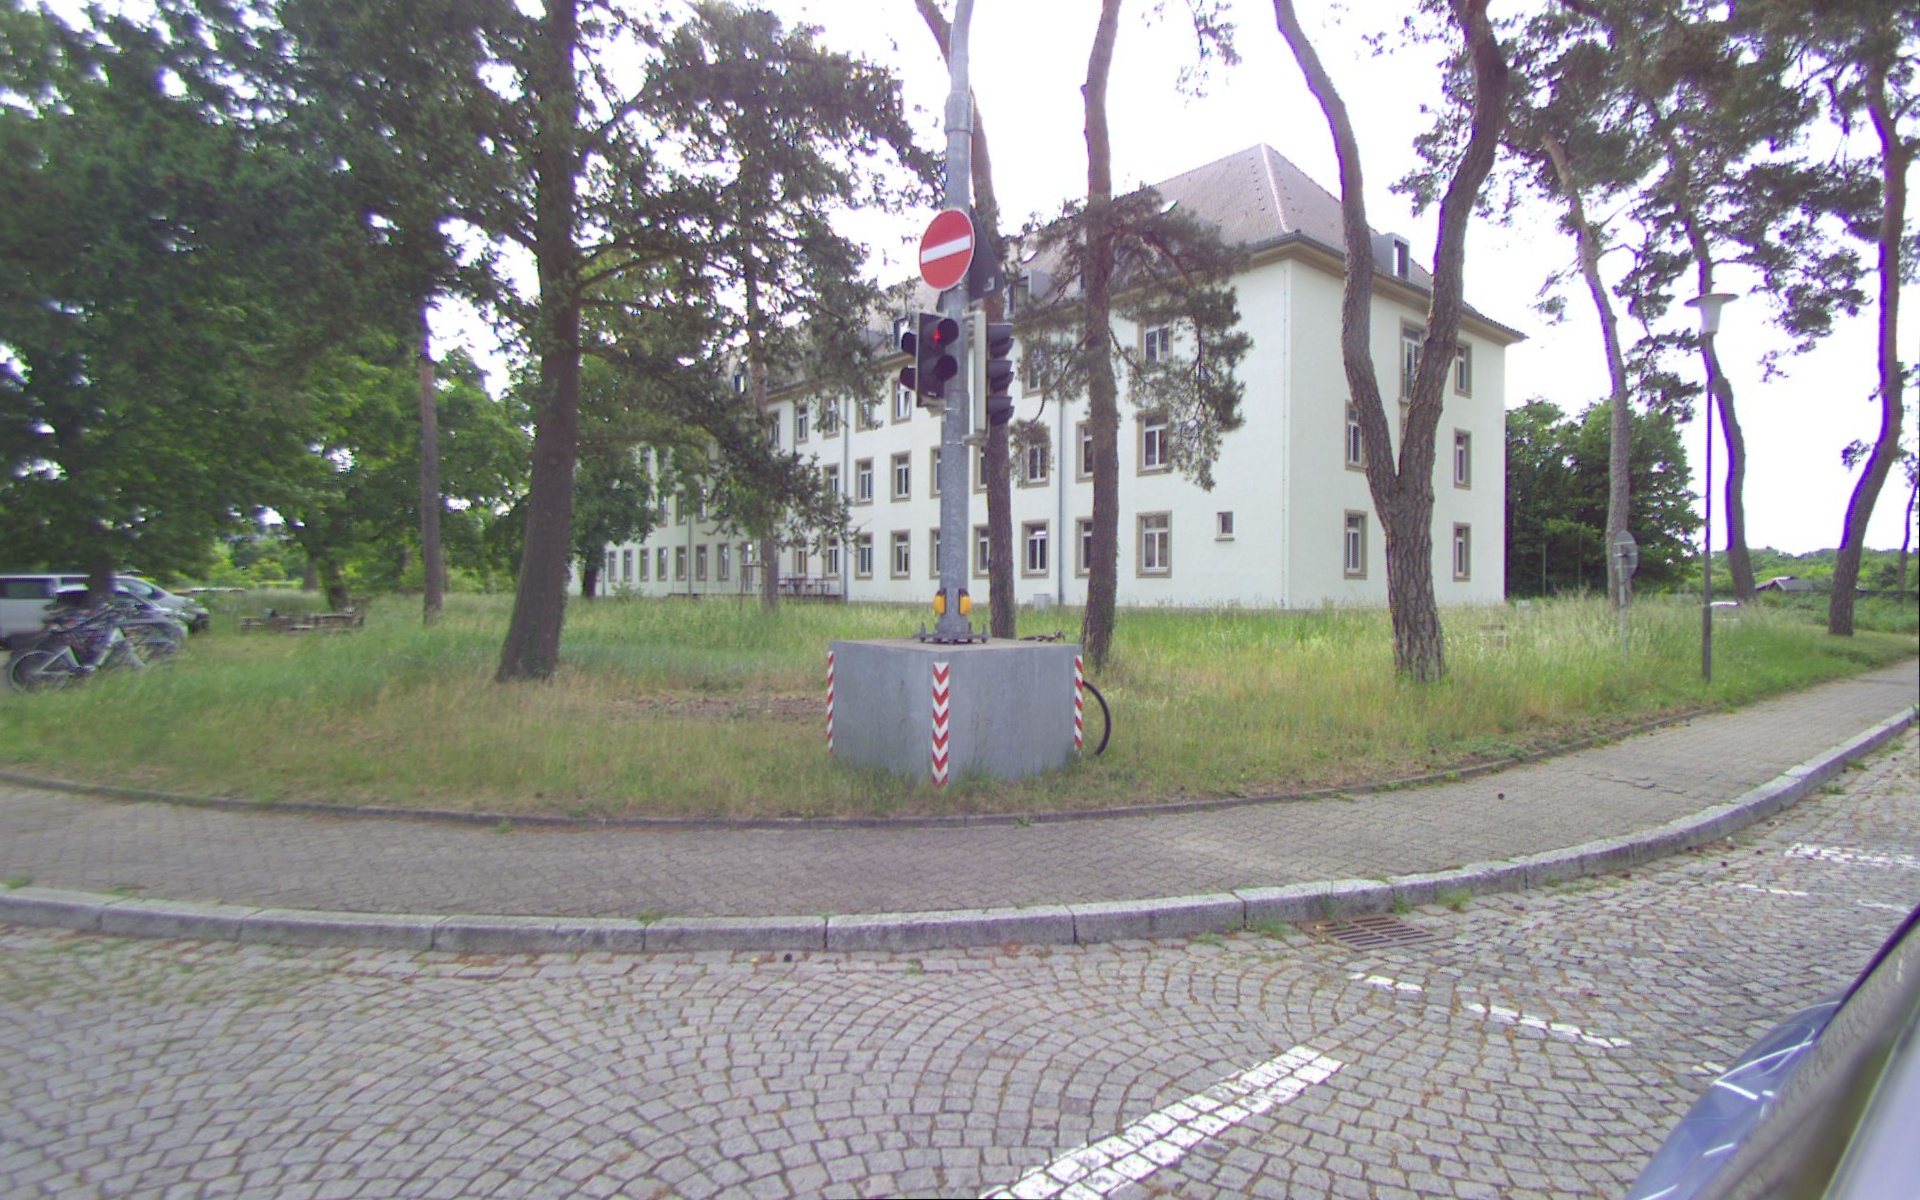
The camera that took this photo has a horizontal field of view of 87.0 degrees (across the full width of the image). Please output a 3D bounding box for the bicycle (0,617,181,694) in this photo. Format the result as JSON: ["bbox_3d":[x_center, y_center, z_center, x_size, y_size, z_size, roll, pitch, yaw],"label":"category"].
[{"bbox_3d":[-11.812,0.725,13.784,1.866,0.961,0.543,0,0,-36],"label":"bicycle"}]

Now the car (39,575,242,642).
[{"bbox_3d":[-20.600,0.185,25.612,3.860,1.549,1.861,0,1,-39],"label":"car"}]

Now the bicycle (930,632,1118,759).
[{"bbox_3d":[0.491,0.744,8.485,0.562,0.885,1.703,0,0,-40],"label":"bicycle"}]

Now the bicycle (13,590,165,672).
[{"bbox_3d":[-14.737,0.496,17.197,1.901,1.336,0.555,0,0,-36],"label":"bicycle"}]

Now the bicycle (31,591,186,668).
[{"bbox_3d":[-15.277,0.504,18.231,2.091,1.336,0.556,0,0,-36],"label":"bicycle"}]

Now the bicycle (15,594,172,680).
[{"bbox_3d":[-13.955,0.569,16.363,1.882,1.336,0.393,0,0,-36],"label":"bicycle"}]

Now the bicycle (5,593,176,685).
[{"bbox_3d":[-13.295,0.563,15.556,1.938,1.336,0.578,0,0,-36],"label":"bicycle"}]

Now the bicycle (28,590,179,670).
[{"bbox_3d":[-14.964,0.501,17.749,1.977,1.336,0.542,0,0,-36],"label":"bicycle"}]

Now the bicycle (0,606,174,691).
[{"bbox_3d":[-12.268,0.658,14.255,1.866,1.115,0.543,0,0,-36],"label":"bicycle"}]

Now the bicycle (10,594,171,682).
[{"bbox_3d":[-13.688,0.568,15.997,1.883,1.336,0.507,0,0,-36],"label":"bicycle"}]

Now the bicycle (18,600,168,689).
[{"bbox_3d":[-12.584,0.617,14.749,1.608,1.231,0.543,0,0,-36],"label":"bicycle"}]

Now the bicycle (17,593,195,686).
[{"bbox_3d":[-12.788,0.558,15.242,2.009,1.336,0.439,0,0,-36],"label":"bicycle"}]

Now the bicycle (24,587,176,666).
[{"bbox_3d":[-15.821,0.463,18.702,2.062,1.384,0.760,0,0,-36],"label":"bicycle"}]

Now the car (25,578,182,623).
[{"bbox_3d":[-32.303,-0.005,38.330,4.436,1.638,1.997,0,1,-40],"label":"car"}]

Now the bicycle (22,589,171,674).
[{"bbox_3d":[-14.272,0.494,16.792,1.817,1.336,0.557,0,0,-36],"label":"bicycle"}]

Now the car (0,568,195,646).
[{"bbox_3d":[-23.828,0.146,27.205,2.225,1.934,4.803,1,1,34],"label":"car"}]

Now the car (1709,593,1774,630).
[{"bbox_3d":[34.420,0.484,44.551,3.221,1.452,1.640,-3,2,-40],"label":"car"}]
